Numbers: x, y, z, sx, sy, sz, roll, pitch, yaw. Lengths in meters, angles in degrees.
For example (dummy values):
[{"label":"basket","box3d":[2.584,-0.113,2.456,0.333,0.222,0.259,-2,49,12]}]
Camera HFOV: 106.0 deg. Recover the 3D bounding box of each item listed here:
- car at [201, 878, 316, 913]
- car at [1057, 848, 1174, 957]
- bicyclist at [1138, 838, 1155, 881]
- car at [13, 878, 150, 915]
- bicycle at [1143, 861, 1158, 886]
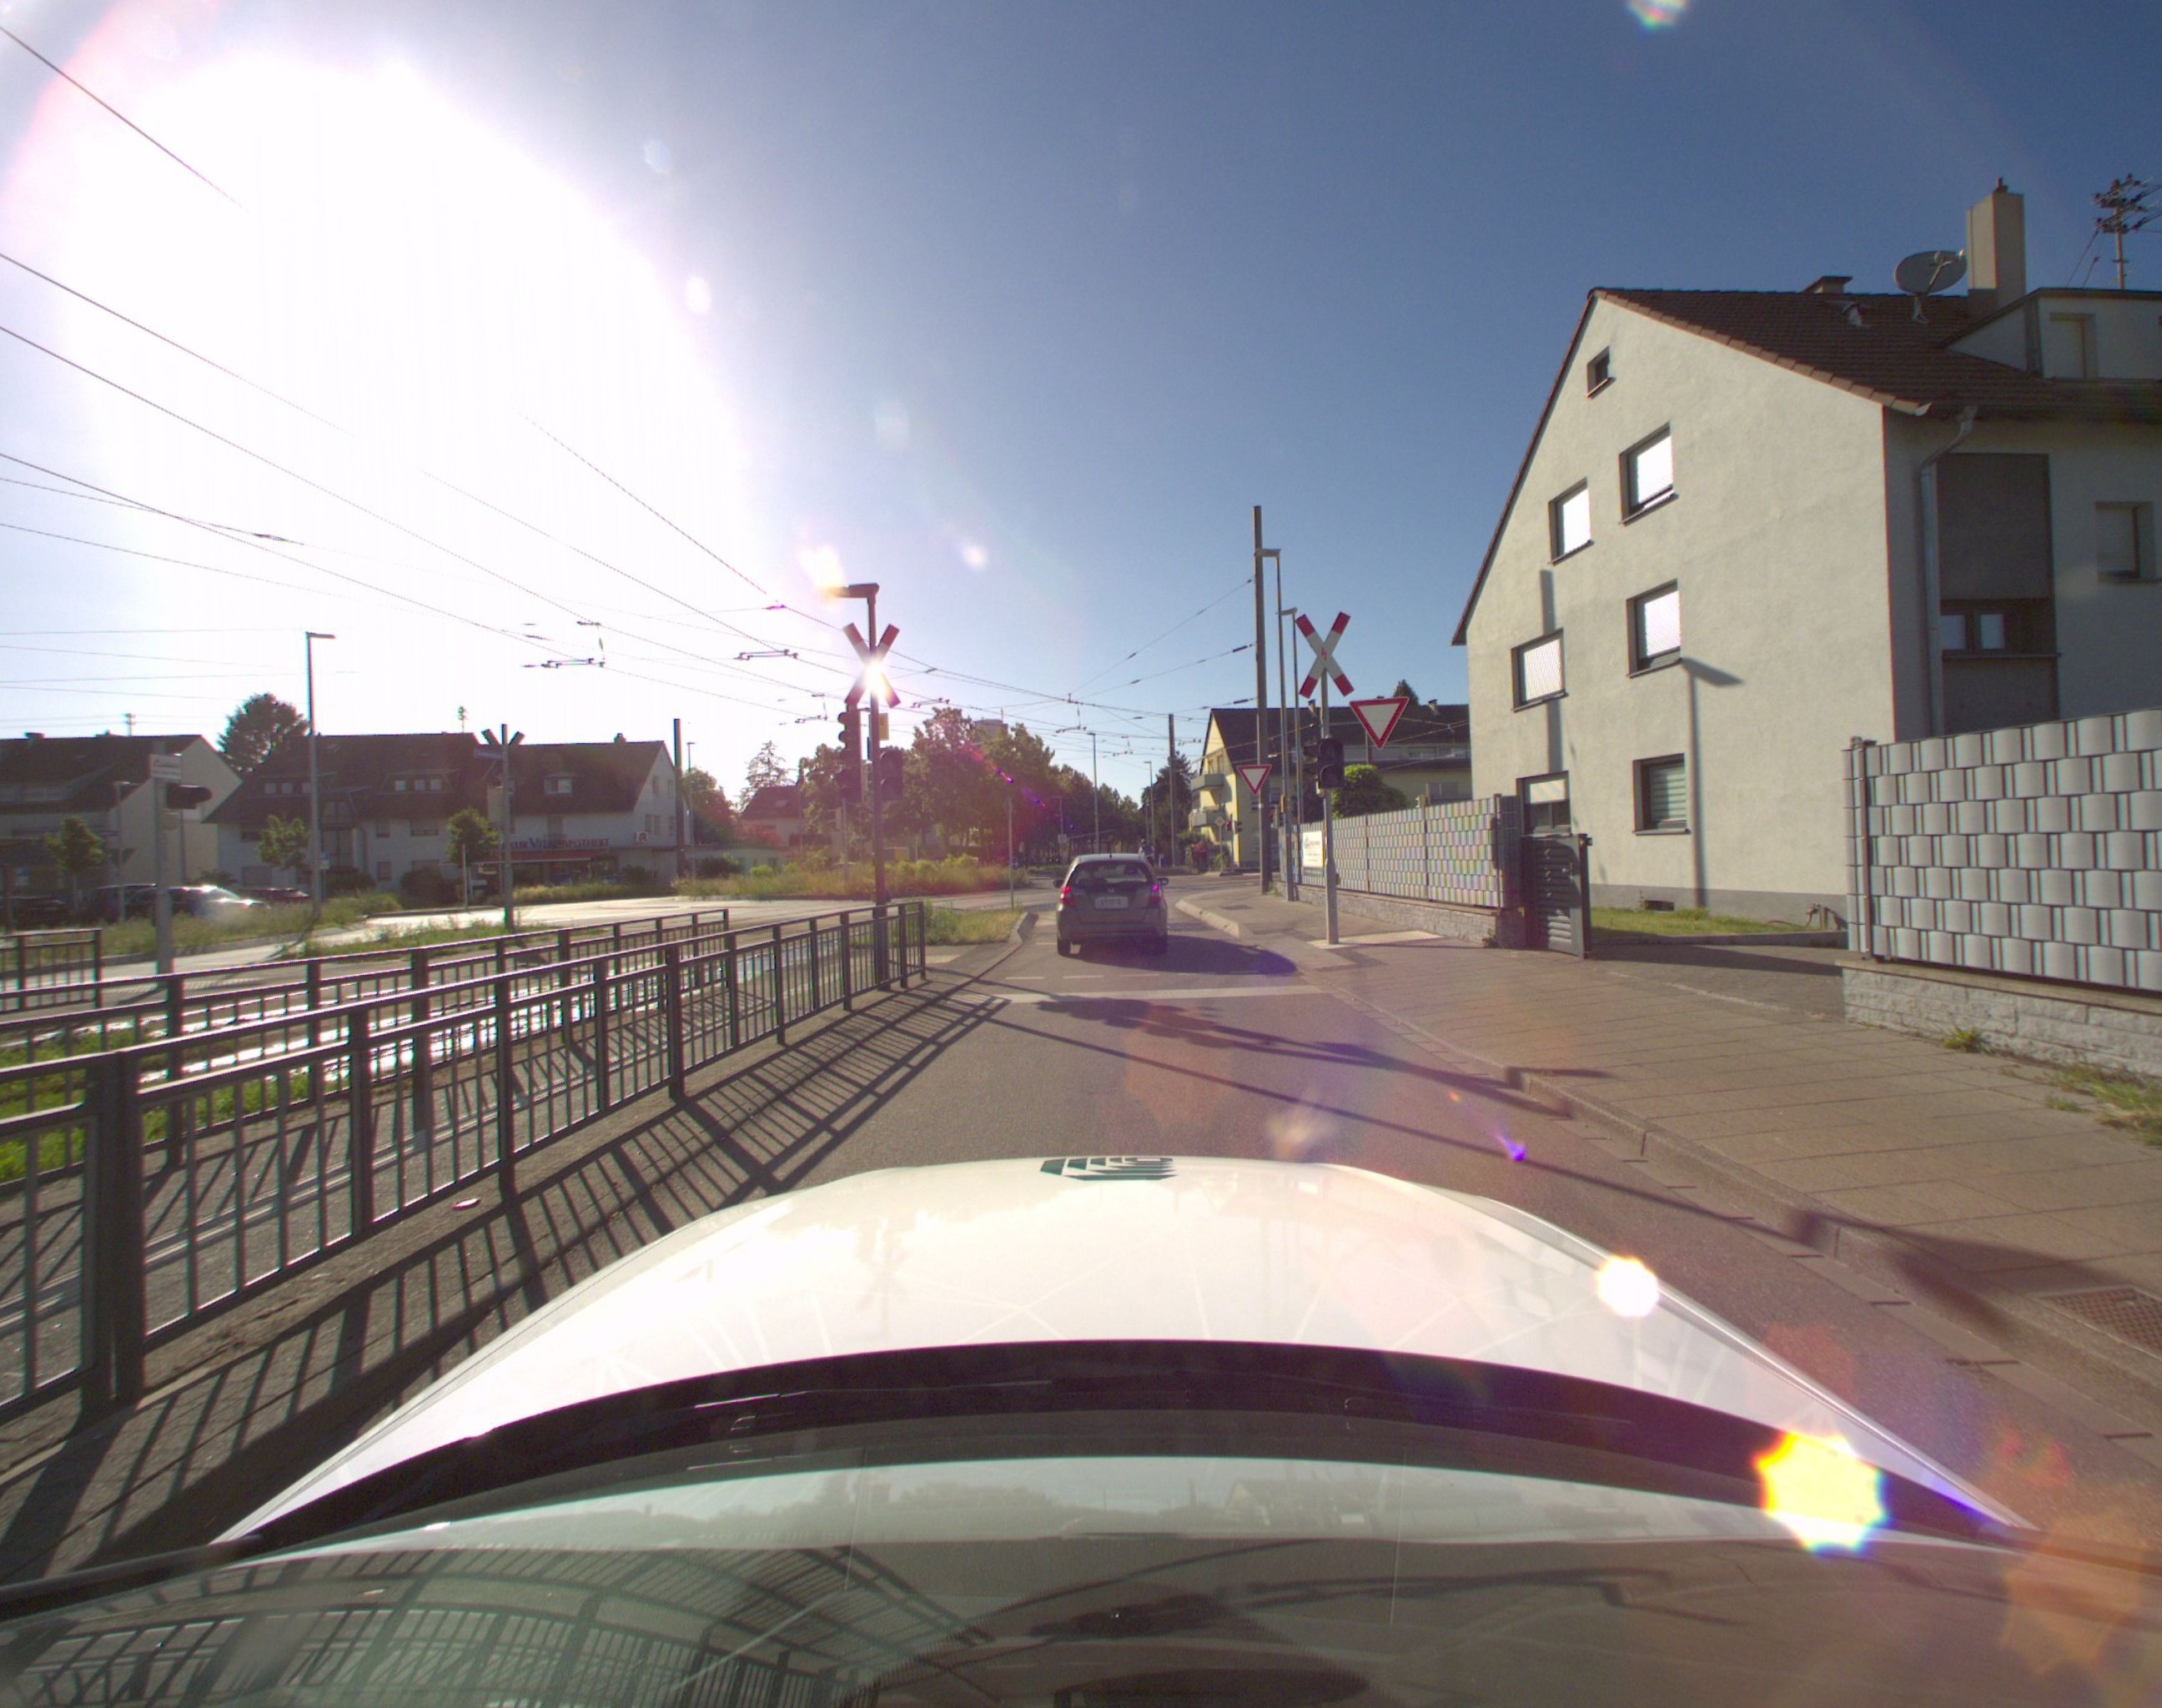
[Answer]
[{"label":"car","box3d":[-40.111,1.987,39.803,3.508,1.473,1.815,-2,0,-9]},{"label":"car","box3d":[0.473,0.700,13.429,1.666,1.535,3.485,-1,0,-1]},{"label":"bicyclist","box3d":[2.613,0.210,32.607,0.596,1.701,0.683,-1,-1,0]},{"label":"car","box3d":[-47.275,1.983,38.604,3.837,1.599,1.822,0,-1,-9]},{"label":"bicycle","box3d":[2.763,0.759,32.404,0.474,0.961,1.656,-1,-1,0]}]
